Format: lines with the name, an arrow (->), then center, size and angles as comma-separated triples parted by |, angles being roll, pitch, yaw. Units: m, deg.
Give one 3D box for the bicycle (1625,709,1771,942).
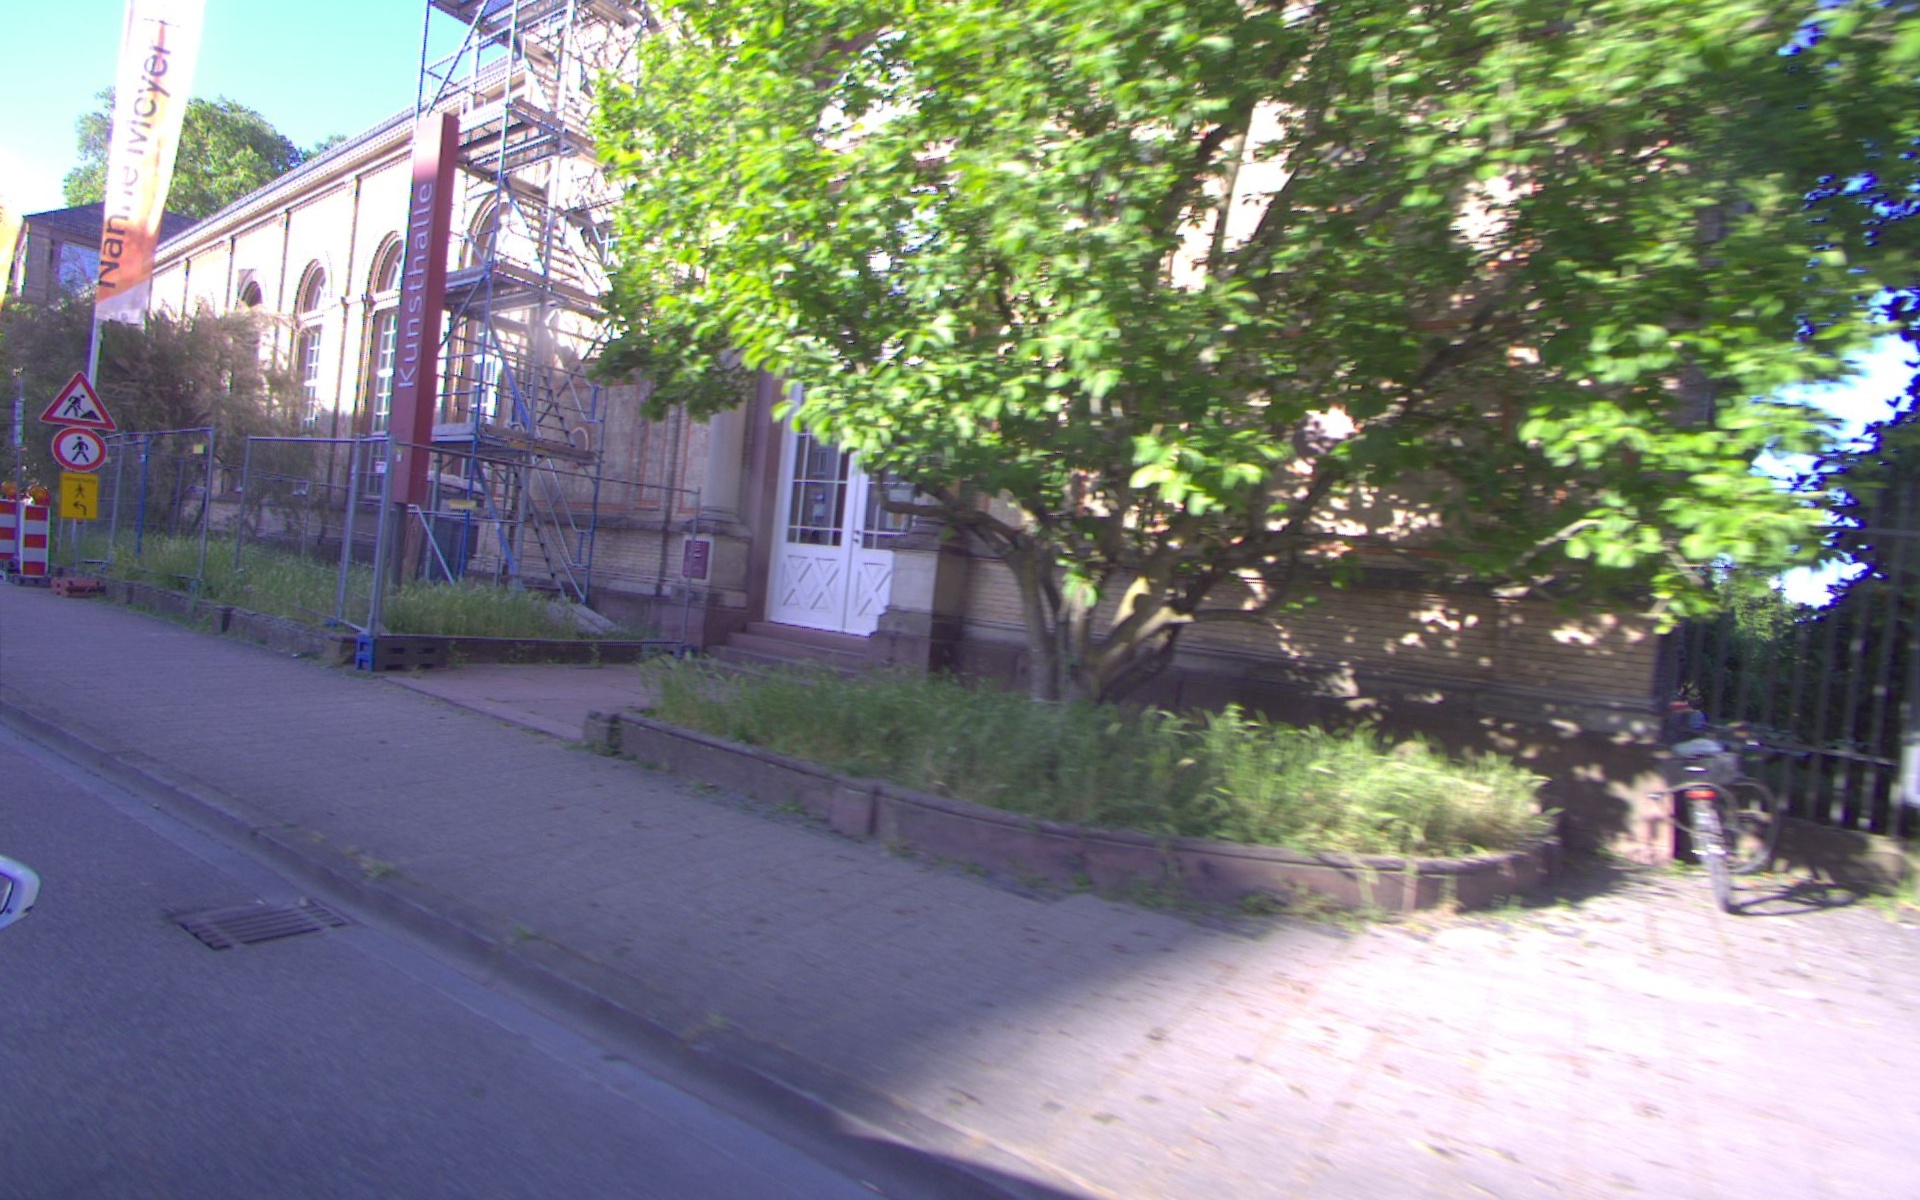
bicycle -> 4.215, 1.222, 5.823 | 0.471, 1.052, 1.466 | 7, 1, 32
